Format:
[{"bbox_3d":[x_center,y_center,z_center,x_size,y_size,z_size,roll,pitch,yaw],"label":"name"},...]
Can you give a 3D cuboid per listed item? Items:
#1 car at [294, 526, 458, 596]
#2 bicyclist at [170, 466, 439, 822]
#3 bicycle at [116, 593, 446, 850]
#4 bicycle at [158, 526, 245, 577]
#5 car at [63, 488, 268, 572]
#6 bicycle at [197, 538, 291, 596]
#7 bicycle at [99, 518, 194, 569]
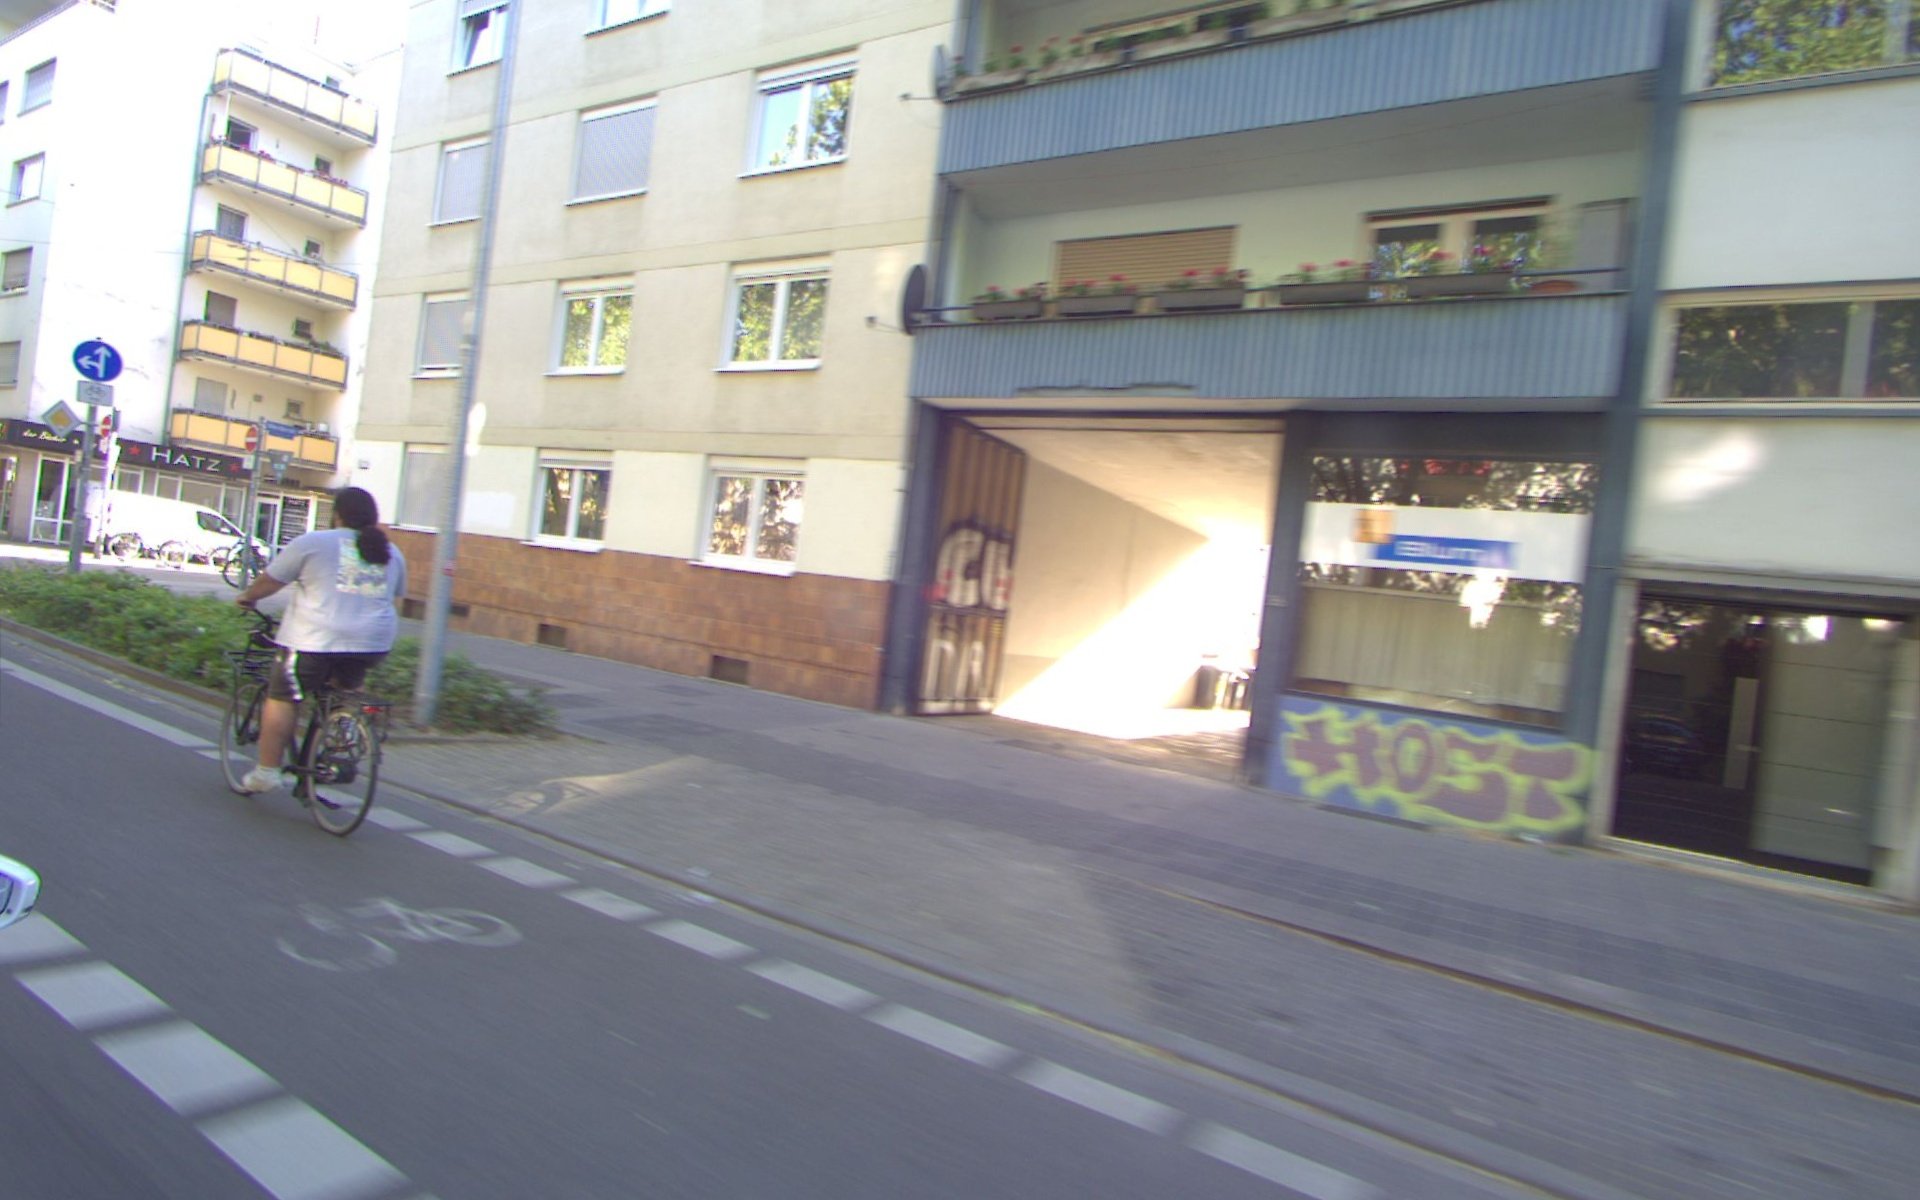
[{"bbox_3d":[-18.434,-1.202,31.932,1.773,1.625,4.012,7,-1,31],"label":"car"},{"bbox_3d":[-3.656,0.223,5.633,0.899,1.780,0.788,7,0,31],"label":"bicyclist"},{"bbox_3d":[-3.934,0.637,5.781,1.957,1.104,0.703,6,-2,31],"label":"bicycle"},{"bbox_3d":[-20.958,-1.330,27.808,0.605,1.130,1.768,7,0,44],"label":"bicycle"},{"bbox_3d":[-24.179,-2.082,30.804,1.965,1.853,4.369,7,-1,28],"label":"car"},{"bbox_3d":[-15.734,-0.727,22.101,1.933,1.028,0.804,7,0,26],"label":"bicycle"},{"bbox_3d":[-22.341,-1.546,27.655,0.692,1.130,1.837,7,-1,34],"label":"bicycle"}]
